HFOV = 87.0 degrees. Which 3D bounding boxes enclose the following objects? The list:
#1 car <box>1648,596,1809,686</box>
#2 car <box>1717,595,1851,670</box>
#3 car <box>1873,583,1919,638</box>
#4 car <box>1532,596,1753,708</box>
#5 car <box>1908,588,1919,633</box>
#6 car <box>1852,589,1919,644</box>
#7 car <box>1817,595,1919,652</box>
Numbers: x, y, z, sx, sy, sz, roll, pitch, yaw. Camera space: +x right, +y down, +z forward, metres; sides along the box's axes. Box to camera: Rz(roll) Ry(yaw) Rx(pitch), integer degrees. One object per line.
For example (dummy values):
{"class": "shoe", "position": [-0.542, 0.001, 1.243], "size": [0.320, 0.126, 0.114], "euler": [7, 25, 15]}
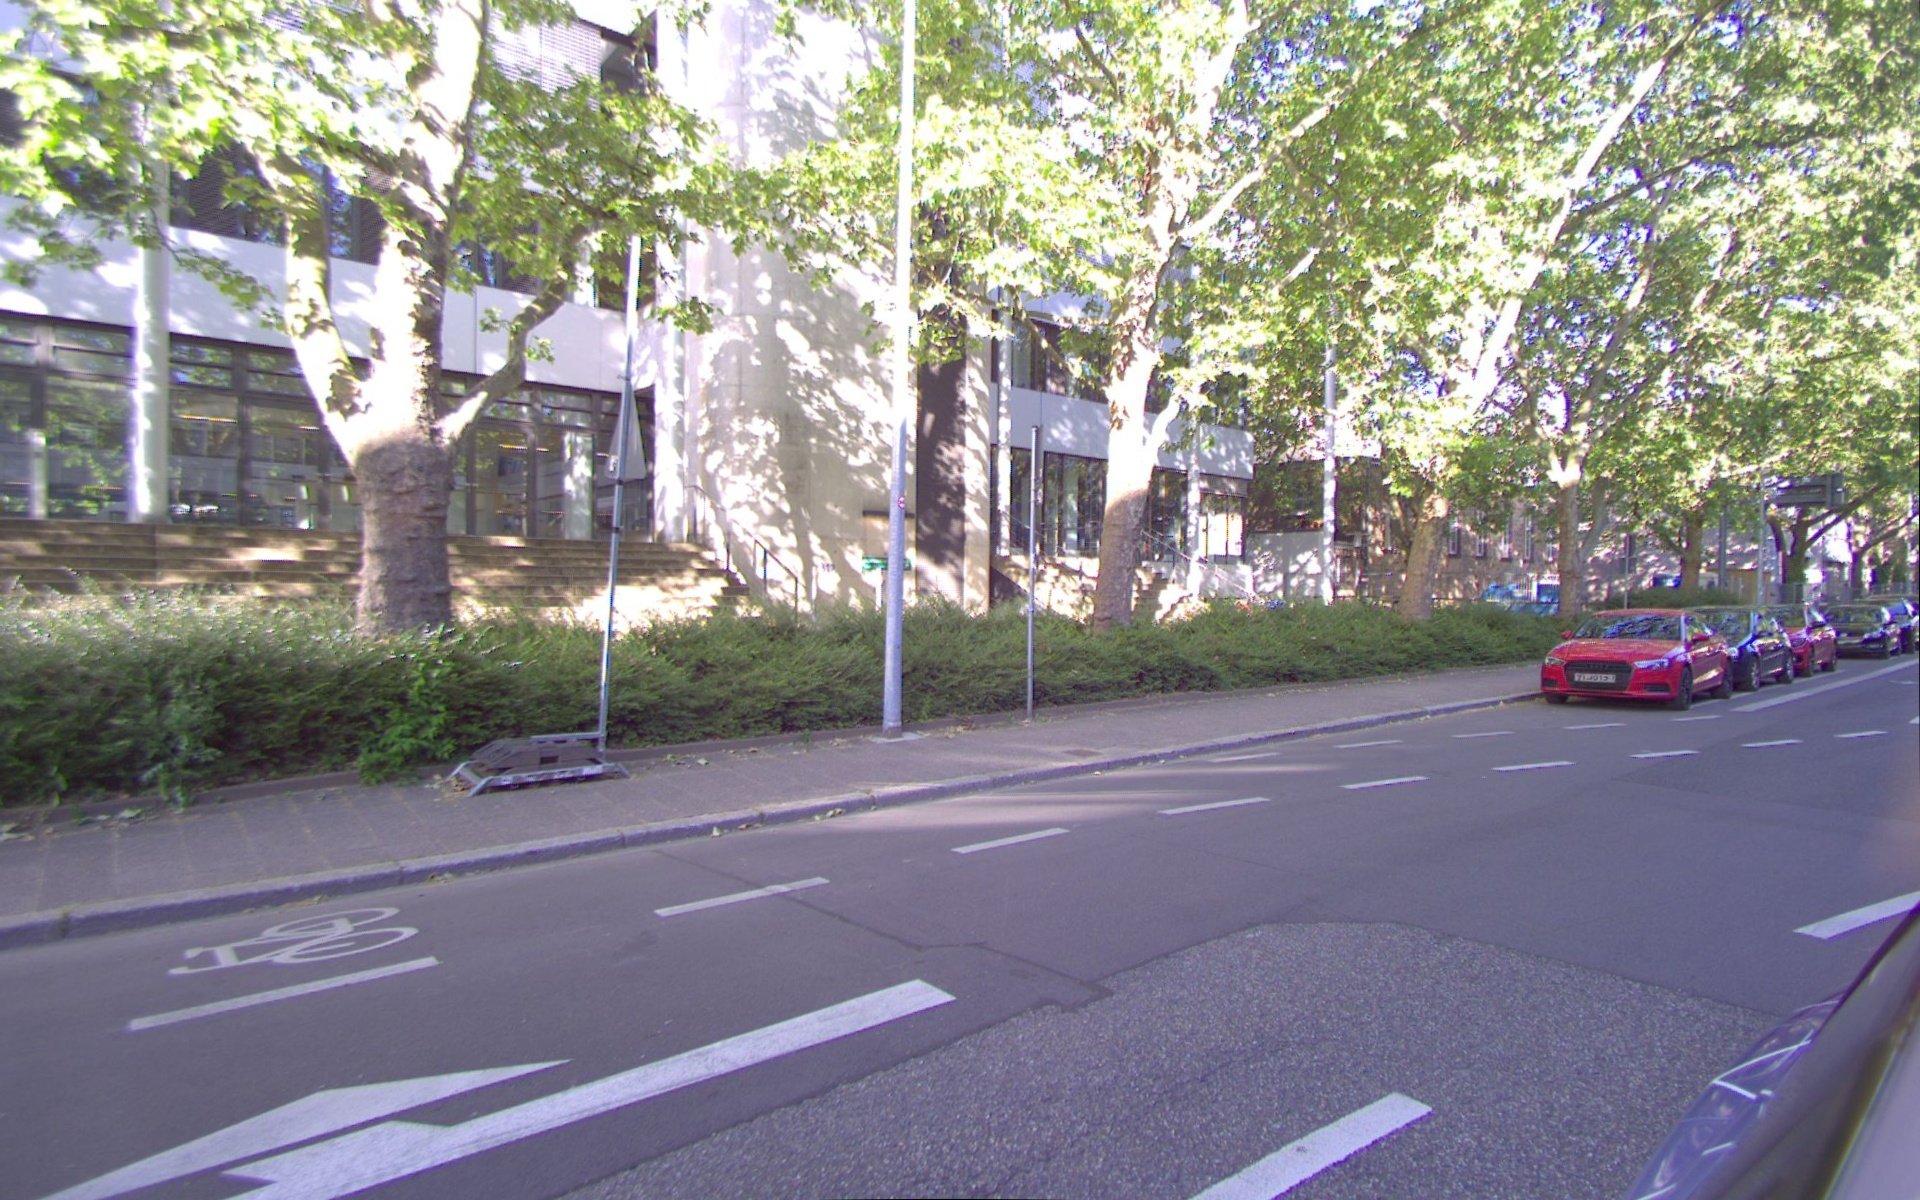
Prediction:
{"class": "car", "position": [14.113, 0.677, 18.525], "size": [3.675, 1.483, 1.634], "euler": [0, -1, -41]}
{"class": "car", "position": [17.884, 0.652, 21.913], "size": [3.675, 1.483, 1.634], "euler": [0, -1, -41]}
{"class": "car", "position": [32.950, 0.354, 34.944], "size": [3.778, 1.828, 1.634], "euler": [0, -1, -41]}
{"class": "car", "position": [10.496, 0.696, 15.464], "size": [4.053, 1.483, 1.802], "euler": [0, -1, -41]}
{"class": "car", "position": [38.071, 0.390, 39.148], "size": [3.778, 1.675, 1.634], "euler": [0, -1, -41]}
{"class": "car", "position": [28.745, 0.476, 30.993], "size": [3.778, 1.607, 1.634], "euler": [0, -1, -41]}
{"class": "car", "position": [25.119, 0.601, 27.965], "size": [3.675, 1.483, 1.634], "euler": [0, -1, -41]}
